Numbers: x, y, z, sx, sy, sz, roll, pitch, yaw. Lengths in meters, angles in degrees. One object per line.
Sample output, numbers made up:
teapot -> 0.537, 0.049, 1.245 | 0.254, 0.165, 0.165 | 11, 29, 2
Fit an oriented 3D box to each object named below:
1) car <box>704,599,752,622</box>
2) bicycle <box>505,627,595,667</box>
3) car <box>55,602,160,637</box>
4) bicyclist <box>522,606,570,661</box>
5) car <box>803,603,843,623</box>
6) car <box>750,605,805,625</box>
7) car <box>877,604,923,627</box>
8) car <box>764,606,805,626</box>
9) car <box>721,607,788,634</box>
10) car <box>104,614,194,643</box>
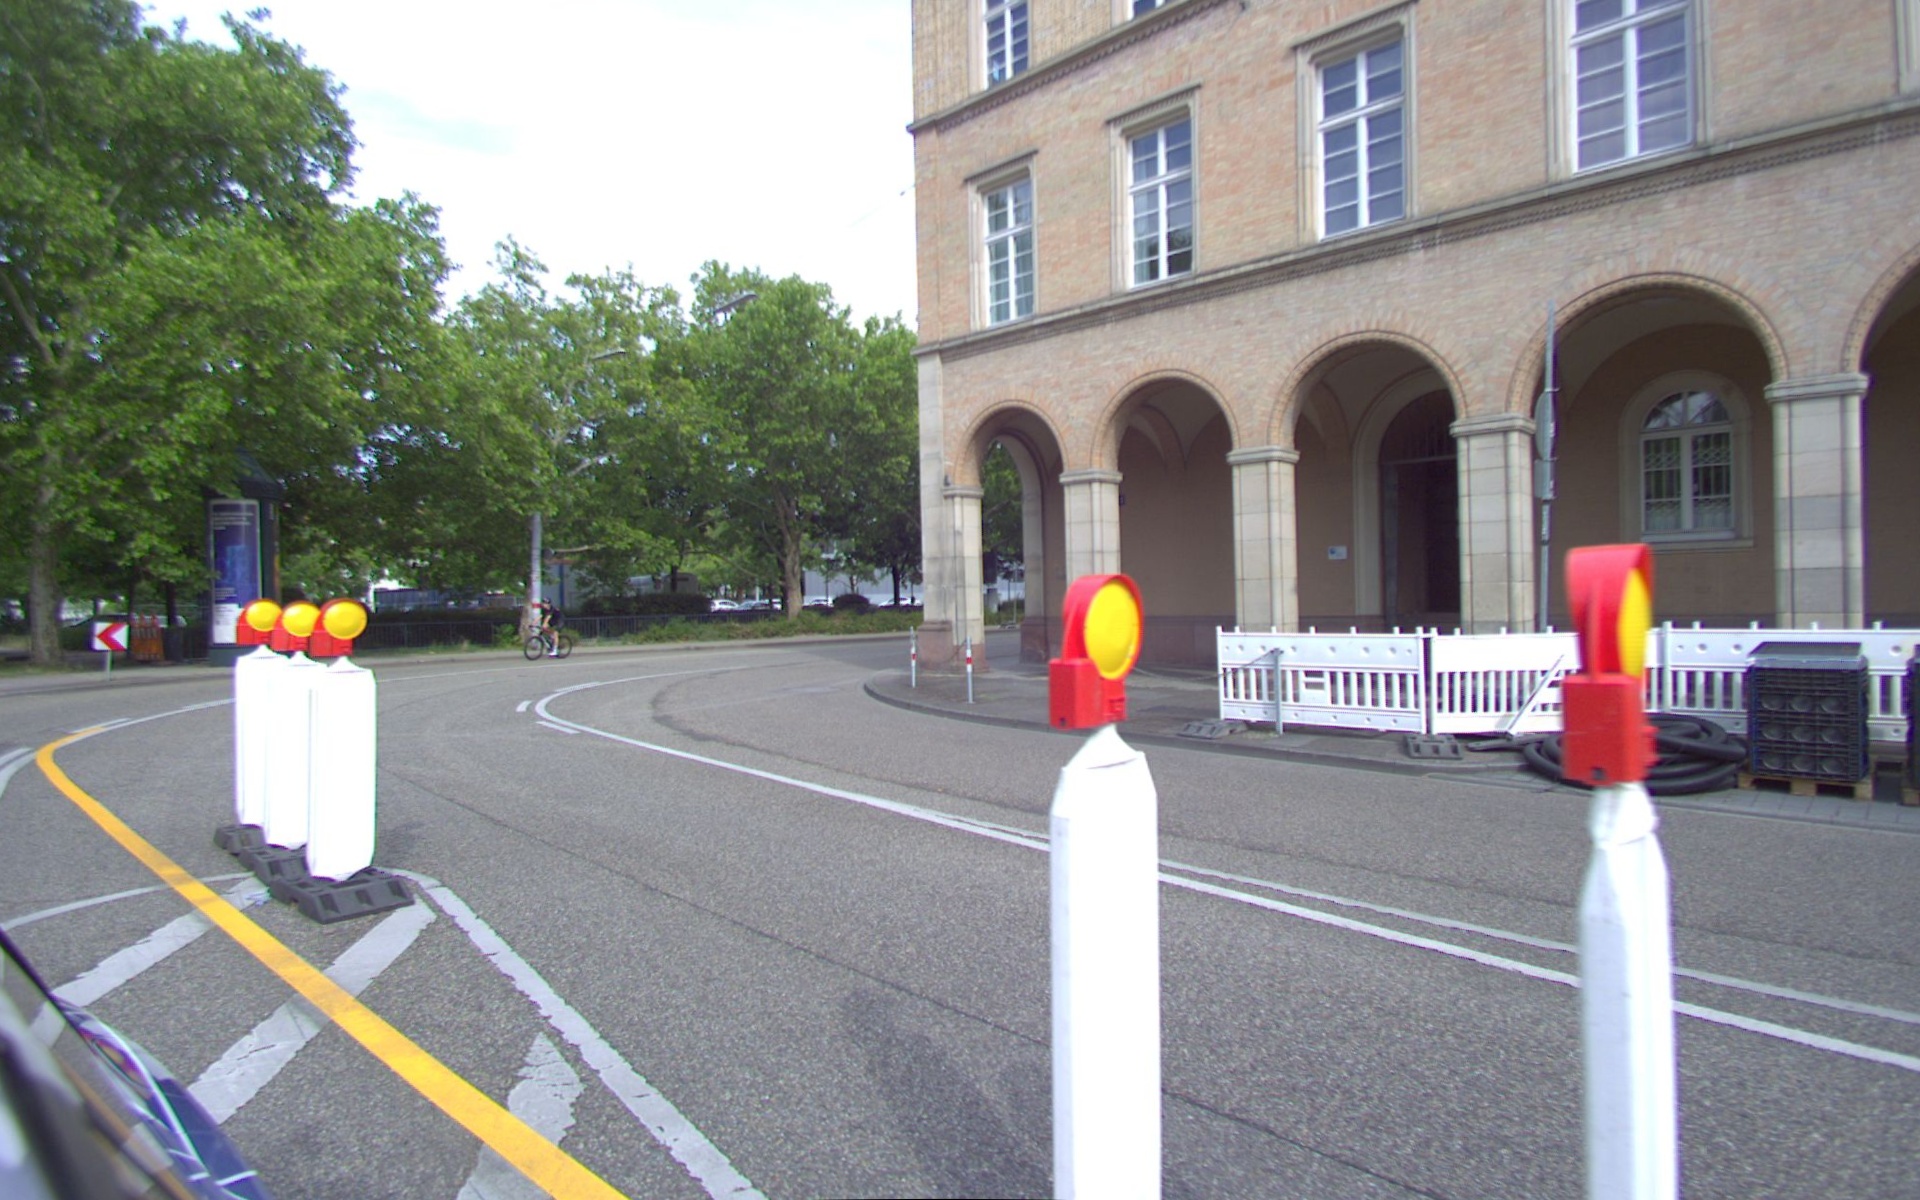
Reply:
car -> -21.845, 1.013, 95.365 | 2.000, 2.029, 3.943 | -4, -3, 43
bicycle -> -11.386, 1.281, 28.201 | 0.768, 1.023, 2.384 | -3, -2, 28
car -> -53.620, 1.199, 63.729 | 1.996, 2.029, 4.715 | -4, -2, 36
bicyclist -> -11.474, 0.926, 28.073 | 0.781, 1.458, 0.905 | -3, -2, 28
car -> -14.442, 1.395, 106.653 | 3.864, 1.875, 1.934 | -3, -2, 30
car -> -16.345, 1.361, 90.838 | 1.998, 1.643, 4.709 | -4, -2, 40
car -> -5.812, 1.484, 97.410 | 3.990, 2.029, 1.977 | -4, -2, 34
car -> -18.862, 1.729, 108.873 | 3.984, 2.029, 1.980 | -3, -2, 30
car -> -15.288, 1.512, 75.518 | 1.996, 1.808, 4.715 | -4, -2, 36
car -> -47.666, 1.655, 59.519 | 1.996, 1.592, 3.744 | -4, -2, 36
